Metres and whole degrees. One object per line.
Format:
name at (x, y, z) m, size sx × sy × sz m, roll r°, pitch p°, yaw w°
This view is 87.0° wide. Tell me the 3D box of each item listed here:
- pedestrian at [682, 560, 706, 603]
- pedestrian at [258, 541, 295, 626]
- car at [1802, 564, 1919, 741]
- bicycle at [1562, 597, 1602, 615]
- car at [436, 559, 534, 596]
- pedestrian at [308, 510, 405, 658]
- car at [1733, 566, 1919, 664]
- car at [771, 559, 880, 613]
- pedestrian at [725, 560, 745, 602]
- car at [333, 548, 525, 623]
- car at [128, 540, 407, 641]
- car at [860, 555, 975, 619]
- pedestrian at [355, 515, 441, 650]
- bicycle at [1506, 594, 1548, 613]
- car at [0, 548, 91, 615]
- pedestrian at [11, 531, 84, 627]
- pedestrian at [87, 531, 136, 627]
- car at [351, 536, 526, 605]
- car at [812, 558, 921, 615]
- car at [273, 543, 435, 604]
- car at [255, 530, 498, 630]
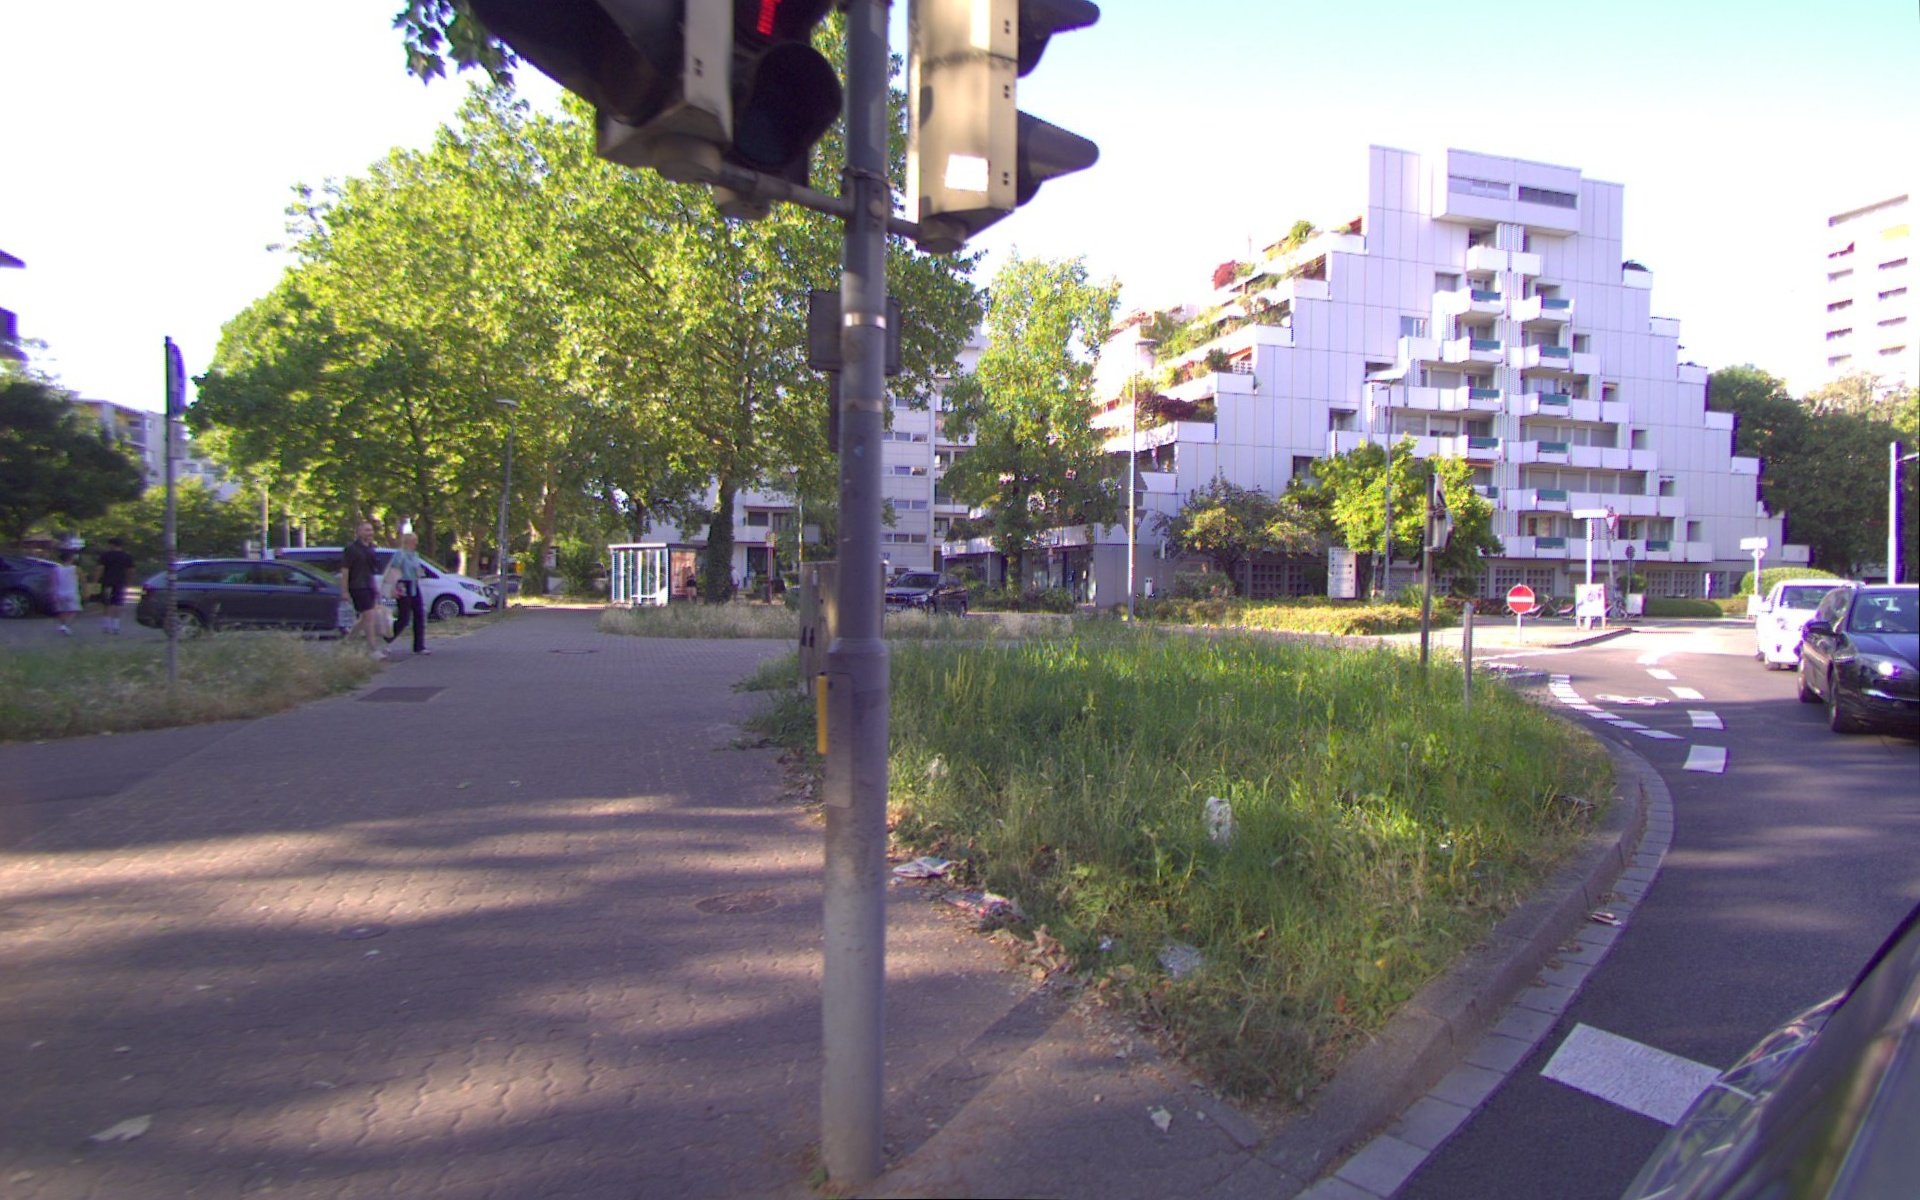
pedestrian at (-10.664, -0.742, 40.556) m, size 0.740 × 1.682 × 0.622 m, roll 2°, pitch 1°, yaw 39°
pedestrian at (-14.624, -0.358, 21.666) m, size 0.521 × 1.773 × 0.562 m, roll -1°, pitch 1°, yaw -24°
car at (10.158, 0.450, 10.511) m, size 1.834 × 1.565 × 4.465 m, roll 0°, pitch 0°, yaw 36°
bicycle at (28.850, 0.272, 46.937) m, size 1.564 × 0.794 × 0.459 m, roll 2°, pitch 1°, yaw 32°
car at (-24.173, -1.176, 51.645) m, size 1.987 × 1.820 × 4.061 m, roll 0°, pitch 2°, yaw 35°
pedestrian at (-8.254, -0.234, 13.862) m, size 0.825 × 1.956 × 0.780 m, roll 1°, pitch 1°, yaw 11°
car at (14.598, 0.198, 16.960) m, size 3.468 × 1.471 × 1.655 m, roll 0°, pitch 2°, yaw -36°
car at (-4.607, -0.451, 35.228) m, size 1.854 × 1.659 × 3.964 m, roll 3°, pitch 0°, yaw 25°
pedestrian at (-9.023, -0.765, 40.571) m, size 0.711 × 1.682 × 0.746 m, roll 1°, pitch 1°, yaw -10°
car at (-15.112, -0.394, 29.113) m, size 4.535 × 1.798 × 2.006 m, roll 4°, pitch 0°, yaw -19°
car at (-12.476, -0.151, 18.548) m, size 3.903 × 1.542 × 1.679 m, roll 4°, pitch 0°, yaw -24°
car at (-1.191, -0.344, 30.743) m, size 1.914 × 1.680 × 4.449 m, roll 4°, pitch 0°, yaw 19°
pedestrian at (-8.180, -0.266, 14.756) m, size 0.773 × 1.903 × 0.801 m, roll 1°, pitch 1°, yaw 10°
bicycle at (26.572, 0.155, 47.418) m, size 1.668 × 0.848 × 0.464 m, roll 1°, pitch 1°, yaw 0°
car at (-24.859, -0.512, 25.914) m, size 3.600 × 1.654 × 1.582 m, roll 2°, pitch 1°, yaw -19°
pedestrian at (-16.950, -0.392, 18.824) m, size 0.932 × 1.719 × 0.883 m, roll 0°, pitch 1°, yaw -37°
pedestrian at (-16.543, -0.413, 19.755) m, size 0.674 × 1.832 × 0.964 m, roll 0°, pitch 1°, yaw -37°
car at (-16.173, -0.896, 31.691) m, size 4.535 × 1.798 × 2.006 m, roll 4°, pitch 0°, yaw -19°
car at (-2.936, -0.391, 32.795) m, size 1.805 × 1.607 × 4.341 m, roll 4°, pitch 0°, yaw 19°
car at (-21.139, -0.918, 35.417) m, size 4.550 × 1.798 × 2.000 m, roll 4°, pitch 0°, yaw -40°
car at (-14.615, -0.481, 25.719) m, size 4.945 × 2.123 × 2.006 m, roll 4°, pitch 0°, yaw -19°
